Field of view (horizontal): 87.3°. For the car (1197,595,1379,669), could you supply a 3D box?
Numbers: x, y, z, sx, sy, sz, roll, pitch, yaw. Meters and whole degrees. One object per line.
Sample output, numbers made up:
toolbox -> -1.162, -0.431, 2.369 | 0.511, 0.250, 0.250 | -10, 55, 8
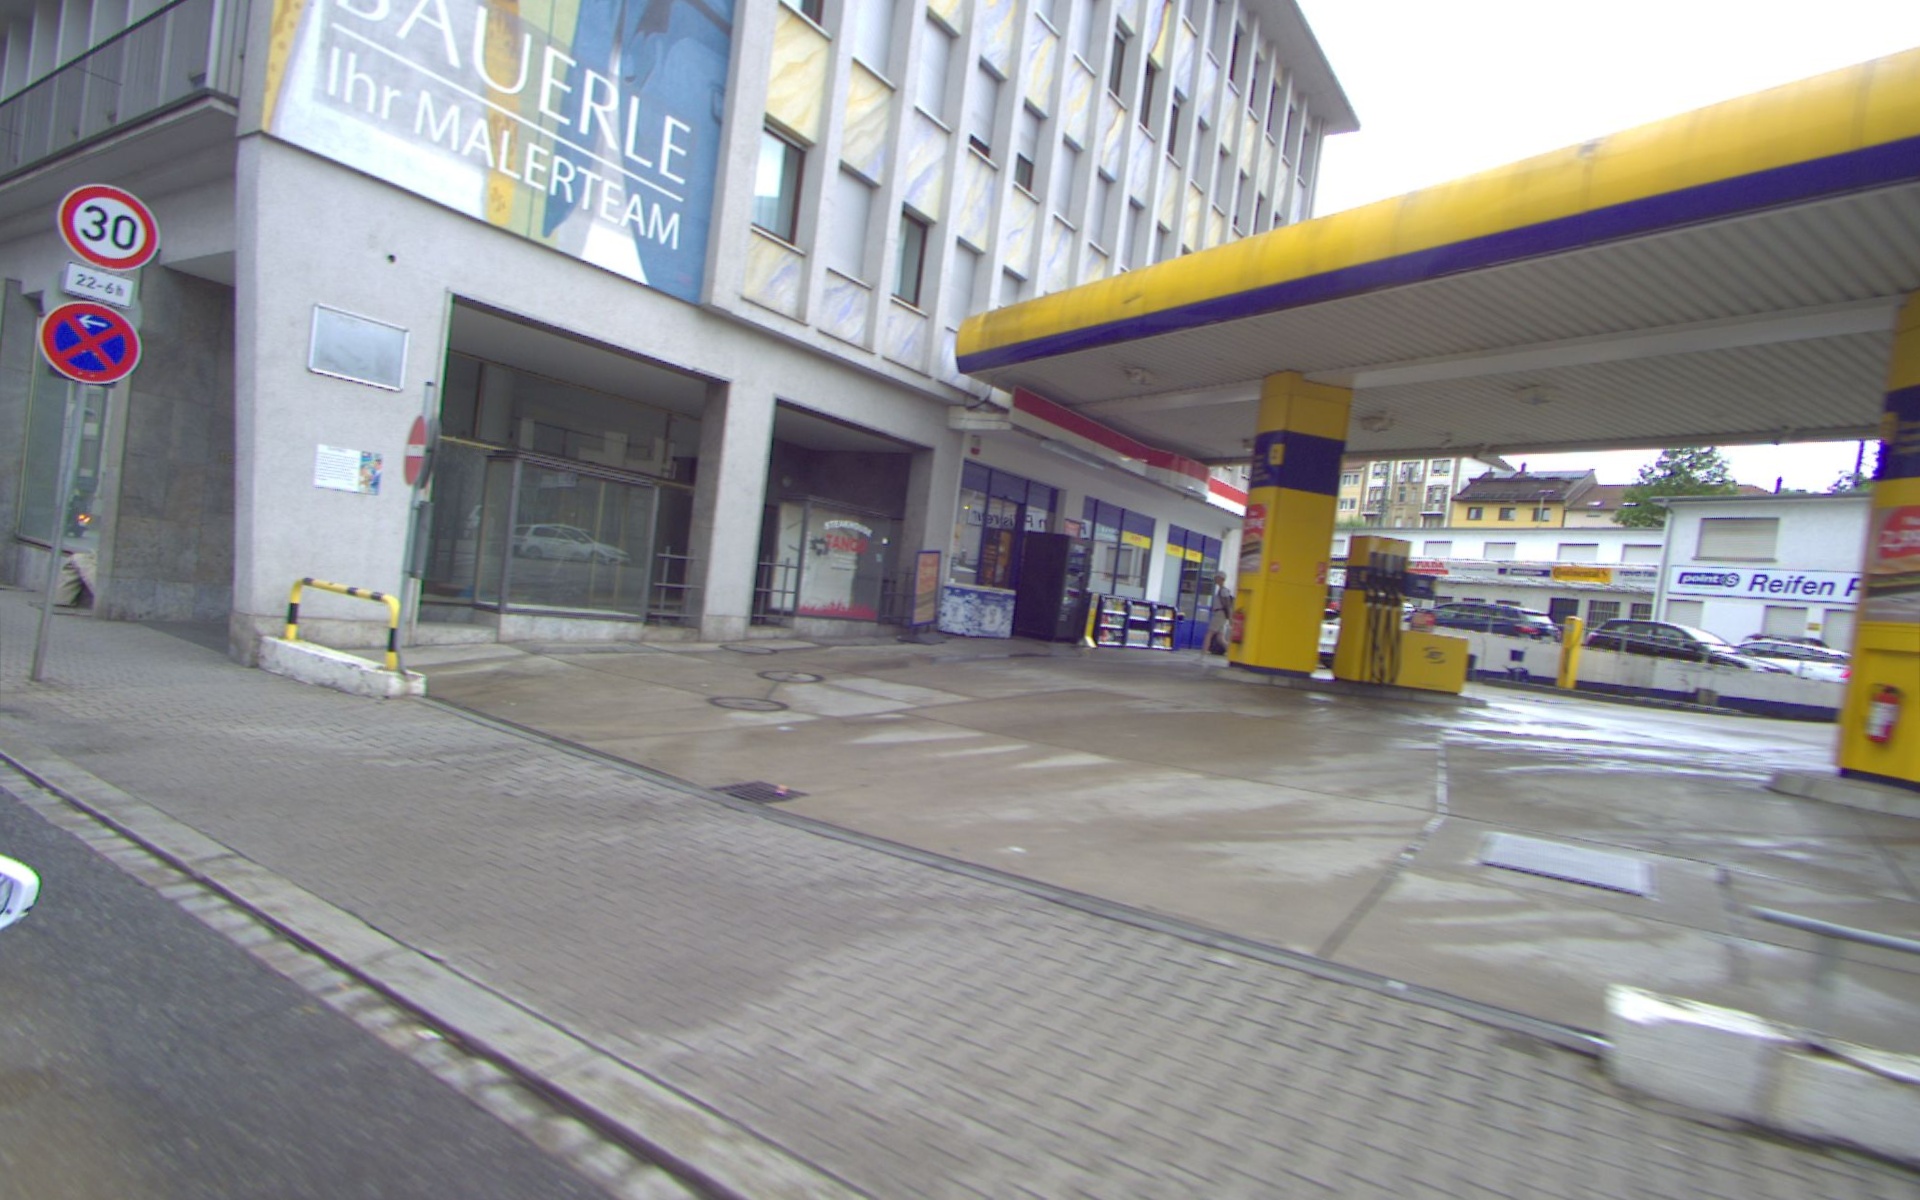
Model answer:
car -> 8.034, 0.731, 25.099 | 1.970, 1.534, 4.402 | 6, -1, -19

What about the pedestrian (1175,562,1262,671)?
pedestrian -> 4.693, 0.297, 18.252 | 1.268, 1.820, 0.653 | 6, 1, 23

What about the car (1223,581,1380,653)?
car -> 10.929, 0.494, 32.565 | 1.978, 1.886, 4.550 | 9, -2, -27

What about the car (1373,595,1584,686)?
car -> 13.651, 1.006, 26.808 | 1.978, 1.886, 4.550 | 9, -2, -27

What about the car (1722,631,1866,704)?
car -> 26.119, 2.116, 31.498 | 3.955, 1.658, 1.987 | 9, -2, -27

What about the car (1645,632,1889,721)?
car -> 19.601, 1.804, 24.636 | 1.787, 1.494, 4.178 | 10, -2, -28

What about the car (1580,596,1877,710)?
car -> 16.279, 1.054, 21.611 | 1.978, 1.886, 4.550 | 9, -2, -27
